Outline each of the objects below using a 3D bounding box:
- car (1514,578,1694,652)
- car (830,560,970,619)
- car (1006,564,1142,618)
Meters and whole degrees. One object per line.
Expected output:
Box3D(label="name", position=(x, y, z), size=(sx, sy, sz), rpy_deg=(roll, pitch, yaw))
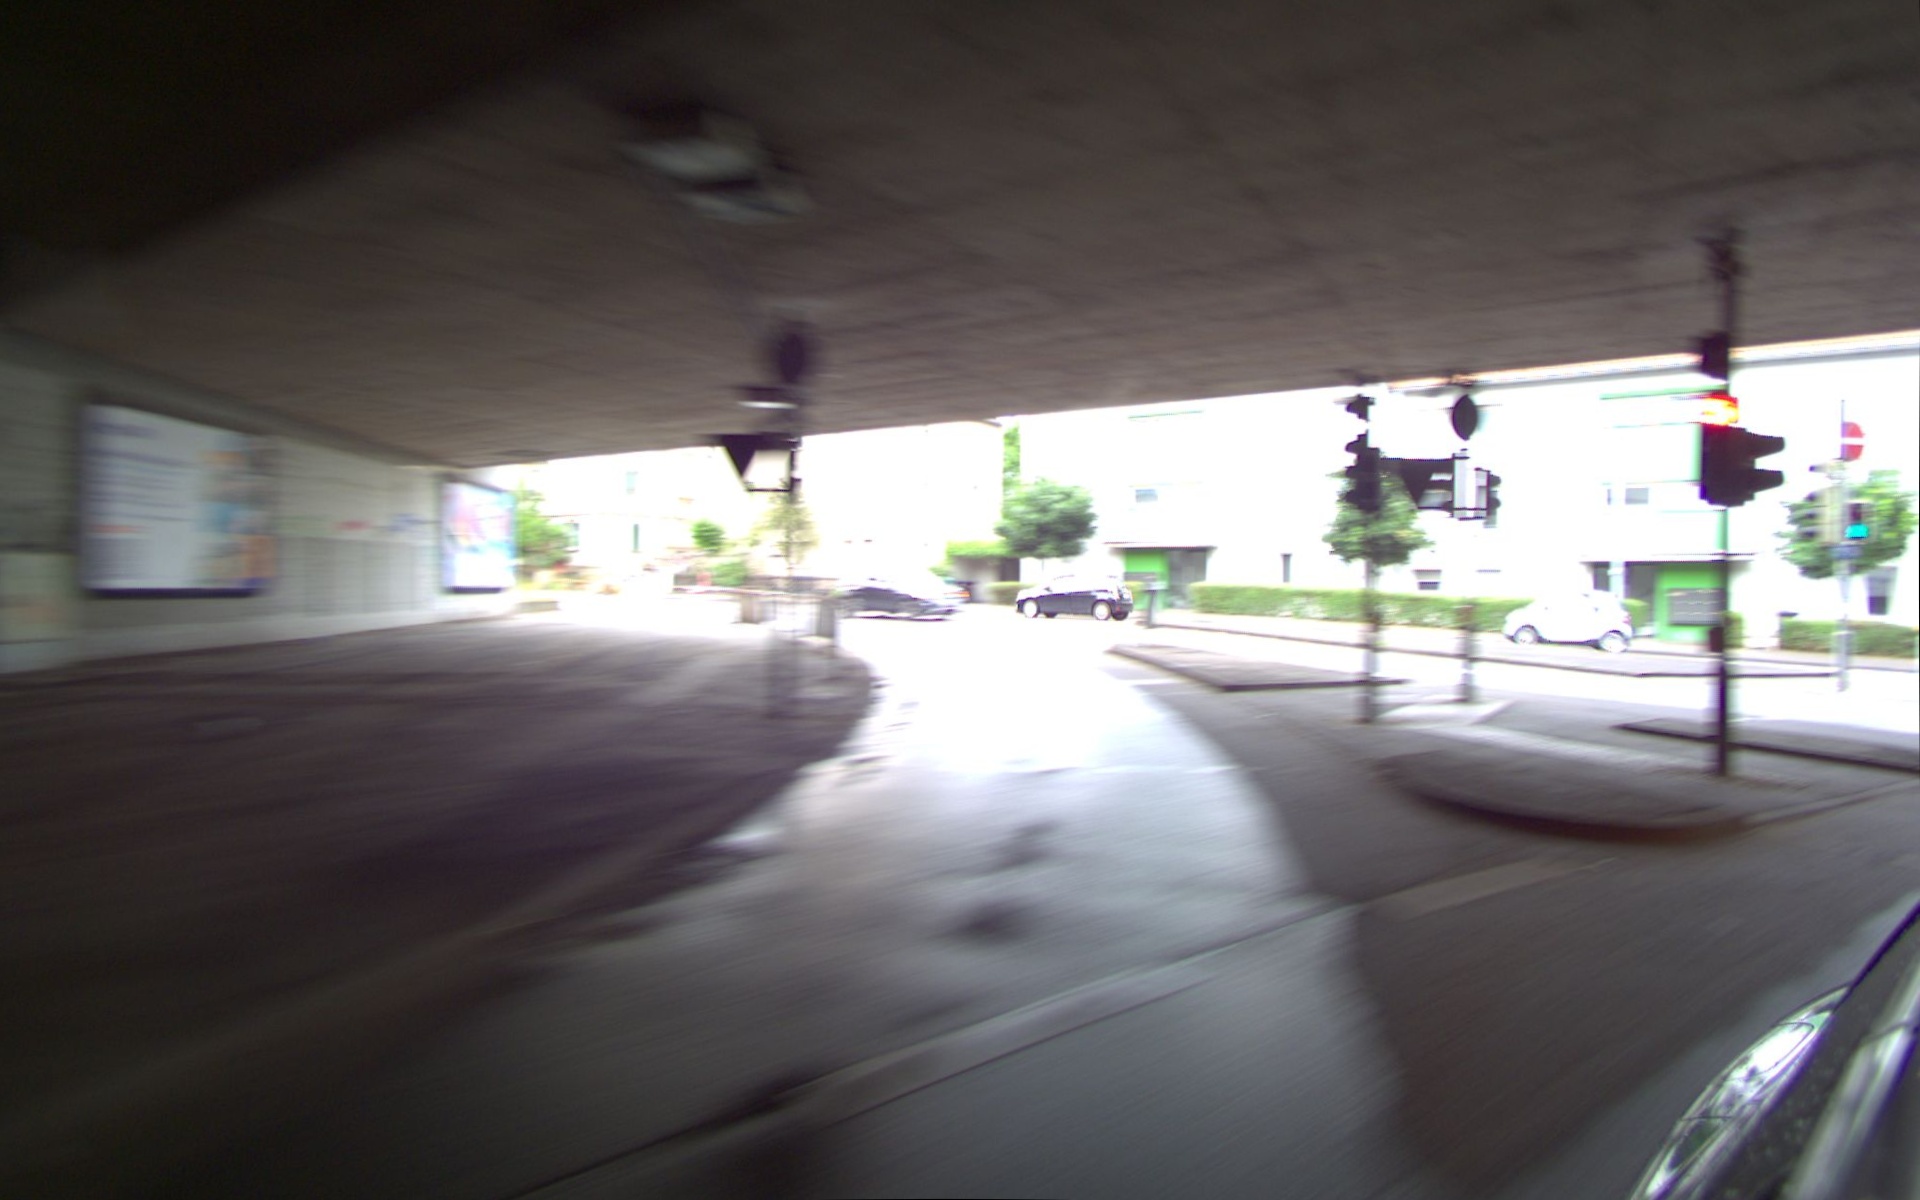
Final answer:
Box3D(label="car", position=(15.907, 0.349, 25.224), size=(3.597, 1.577, 1.629), rpy_deg=(3, 0, 29))
Box3D(label="car", position=(-1.865, -0.383, 30.696), size=(4.213, 1.599, 1.745), rpy_deg=(3, 4, 39))
Box3D(label="car", position=(3.635, -0.295, 32.392), size=(3.964, 1.476, 1.629), rpy_deg=(3, 0, 28))
